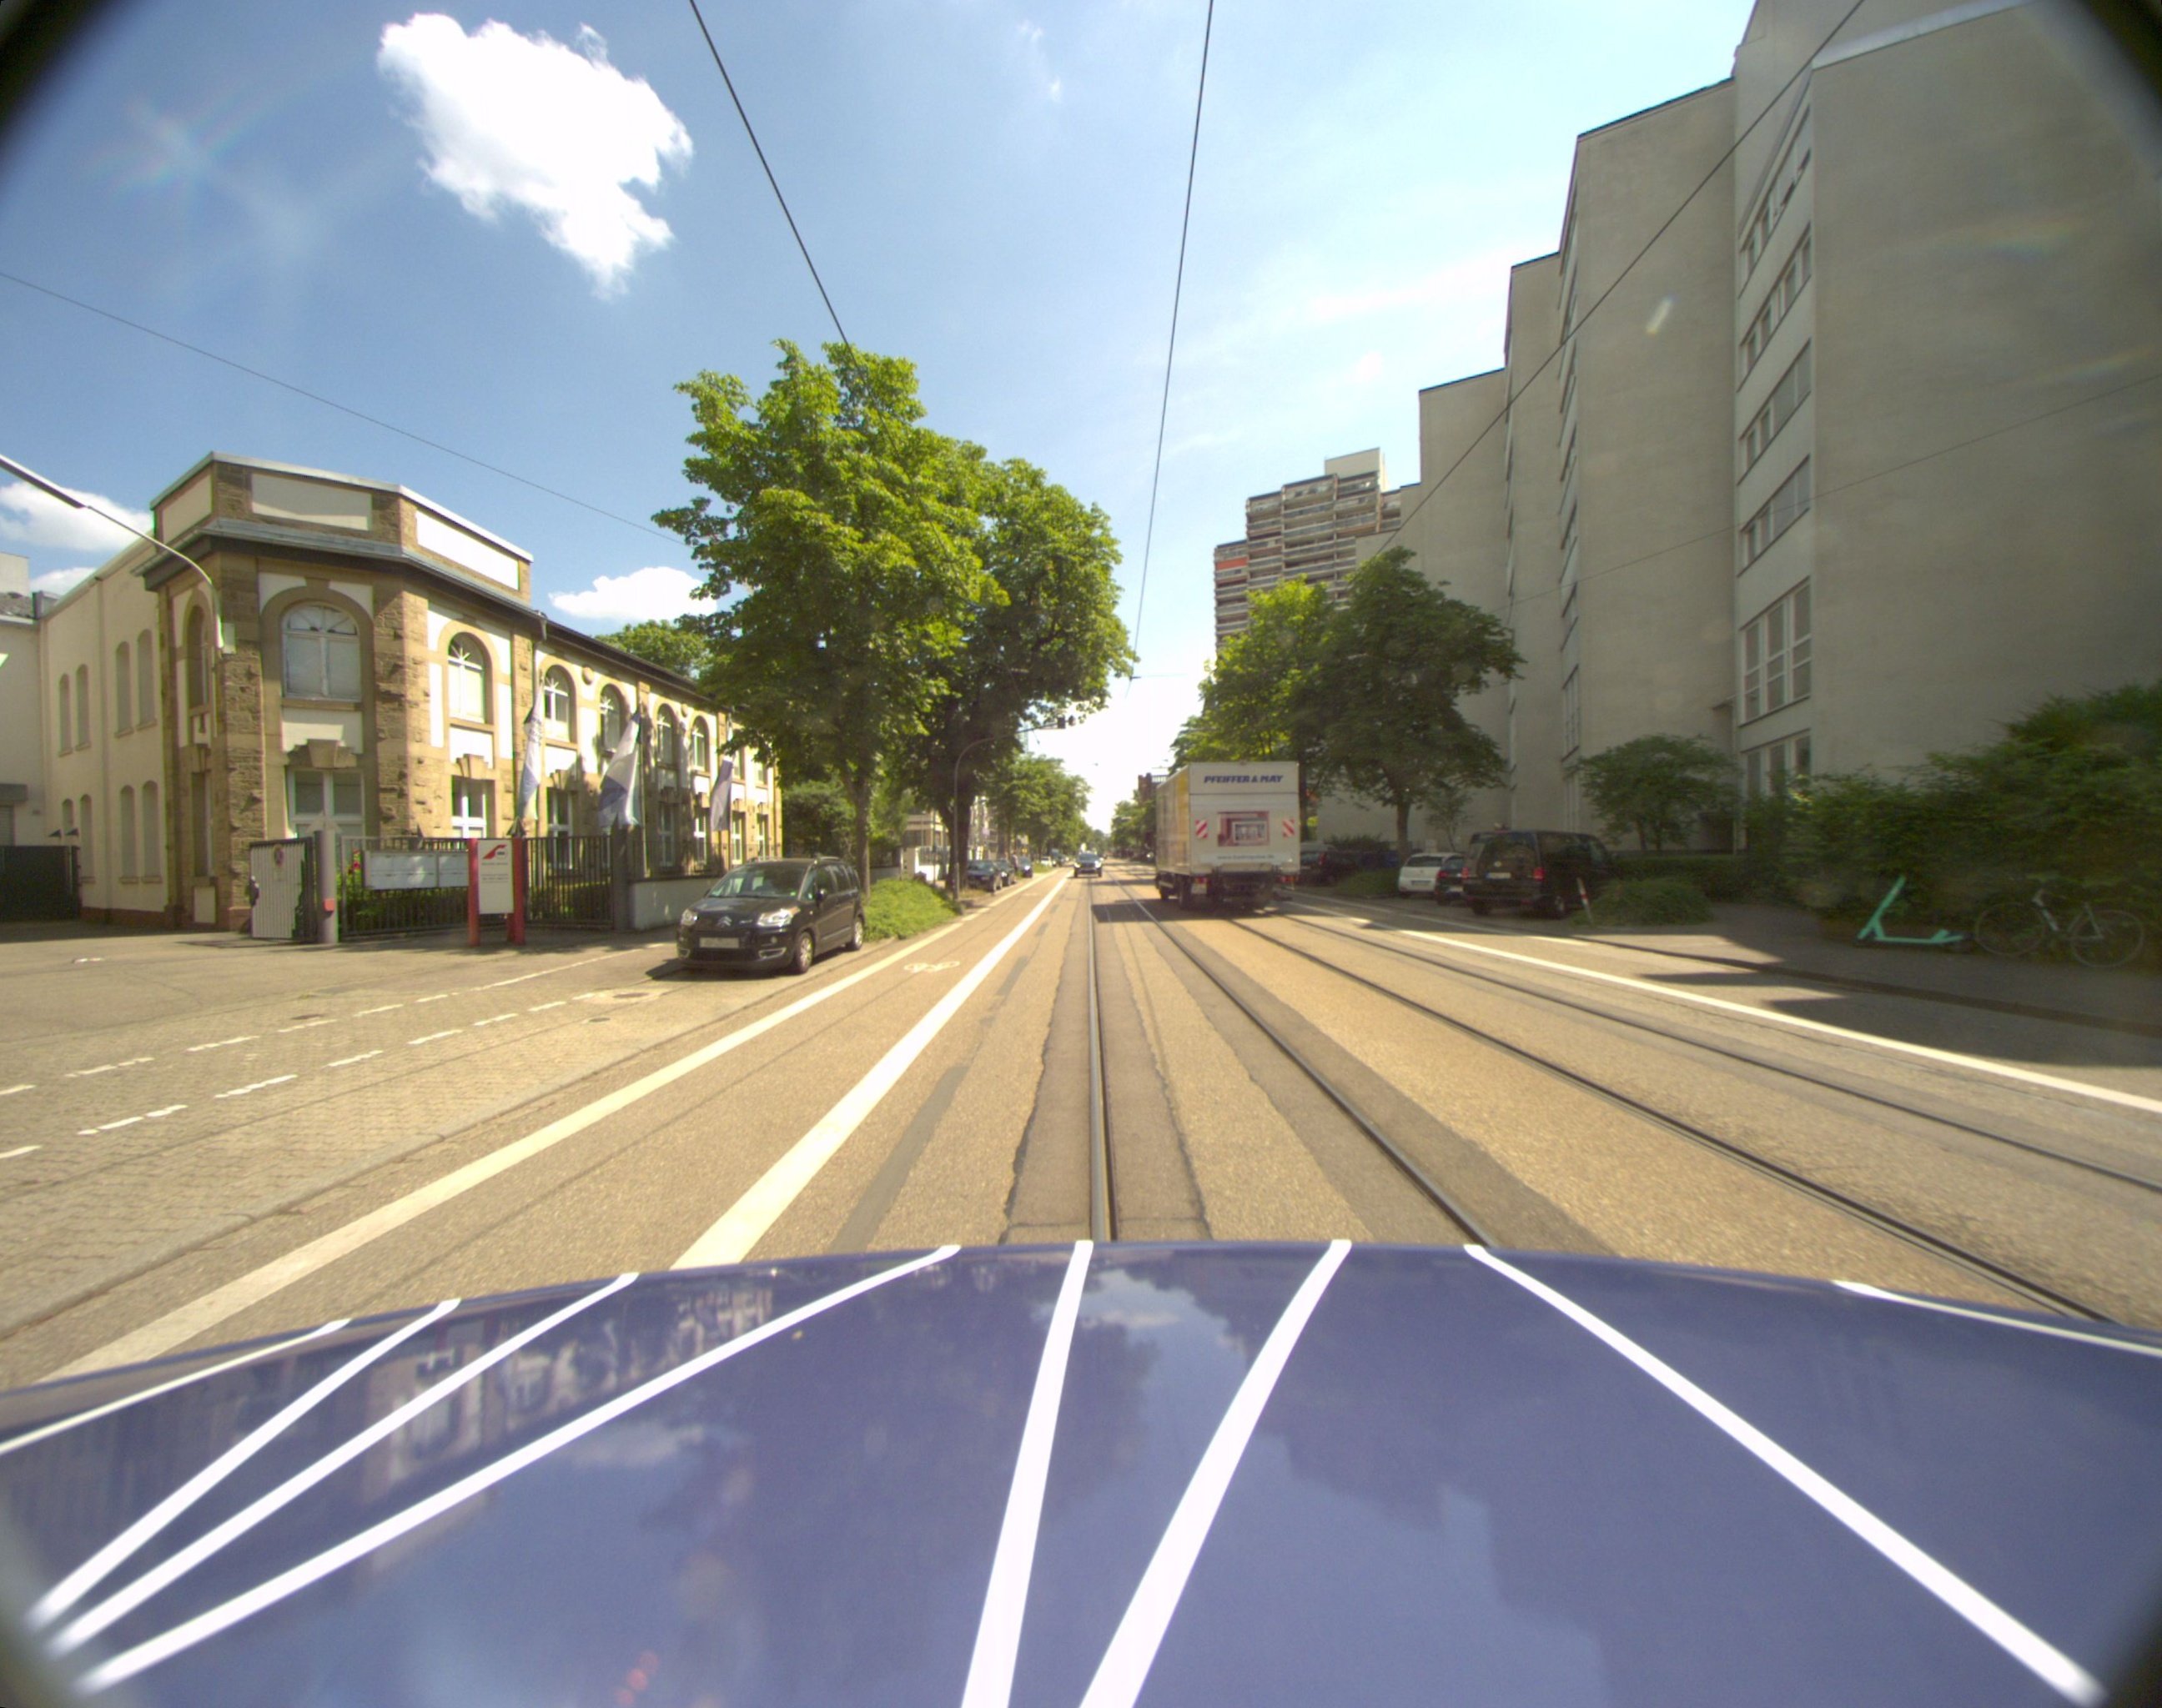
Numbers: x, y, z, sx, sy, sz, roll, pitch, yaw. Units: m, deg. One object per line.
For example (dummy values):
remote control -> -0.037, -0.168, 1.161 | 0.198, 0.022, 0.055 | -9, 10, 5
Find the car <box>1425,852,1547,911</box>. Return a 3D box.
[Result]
car -> 11.429, 0.705, 21.338 | 3.952, 1.445, 1.678 | -1, 1, -40

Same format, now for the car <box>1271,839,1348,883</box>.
car -> 11.274, 0.312, 37.359 | 4.061, 2.030, 1.598 | -1, 1, -40

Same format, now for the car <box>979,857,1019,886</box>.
car -> -4.334, 0.892, 40.479 | 1.626, 1.395, 4.000 | 1, 0, 1

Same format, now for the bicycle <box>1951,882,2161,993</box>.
bicycle -> 10.851, 0.853, 8.327 | 0.609, 0.983, 1.708 | -5, 0, 0

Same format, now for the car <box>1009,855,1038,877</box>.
car -> -3.956, 0.796, 52.867 | 1.626, 1.395, 4.000 | 1, 0, 1

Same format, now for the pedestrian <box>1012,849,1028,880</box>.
pedestrian -> -3.602, 0.604, 44.717 | 0.741, 1.839, 0.645 | -1, 1, -25

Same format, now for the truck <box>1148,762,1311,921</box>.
truck -> 3.764, -0.309, 21.472 | 2.792, 3.598, 8.254 | -1, 0, -1

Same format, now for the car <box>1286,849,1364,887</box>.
car -> 10.970, 0.560, 34.086 | 3.691, 1.566, 1.678 | -1, 2, -42

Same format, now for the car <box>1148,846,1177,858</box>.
car -> 13.231, -0.317, 122.993 | 4.337, 1.797, 1.995 | -1, 1, -32

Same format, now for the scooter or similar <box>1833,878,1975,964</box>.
scooter or similar -> 10.843, 0.848, 10.054 | 0.407, 1.014, 1.222 | -1, 1, -15

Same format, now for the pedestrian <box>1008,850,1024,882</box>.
pedestrian -> -3.694, 0.689, 43.351 | 0.645, 1.839, 0.741 | -1, 1, 18

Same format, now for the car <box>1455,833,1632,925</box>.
car -> 10.975, 0.493, 17.925 | 4.595, 1.914, 1.957 | -1, 1, -36

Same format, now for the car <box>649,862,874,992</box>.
car -> -4.734, 0.972, 11.967 | 1.734, 1.607, 4.084 | 1, 0, 1

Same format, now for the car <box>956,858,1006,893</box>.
car -> -4.403, 0.928, 33.939 | 1.626, 1.395, 3.823 | 1, 0, 1

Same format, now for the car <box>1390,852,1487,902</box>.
car -> 11.576, 0.695, 24.510 | 1.721, 1.445, 3.635 | 0, 1, 45

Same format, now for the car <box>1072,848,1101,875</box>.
car -> 0.348, 0.461, 49.728 | 1.752, 1.641, 4.297 | -3, 0, 1

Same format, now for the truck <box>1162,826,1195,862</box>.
truck -> 12.051, -1.198, 92.794 | 2.672, 4.156, 10.483 | -1, 0, 14

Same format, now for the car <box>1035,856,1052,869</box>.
car -> -4.262, 0.936, 87.198 | 1.626, 1.395, 4.000 | 1, 0, 1

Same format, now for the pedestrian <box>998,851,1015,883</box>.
pedestrian -> -4.304, 0.749, 43.819 | 0.645, 1.839, 0.741 | 0, 1, 27
